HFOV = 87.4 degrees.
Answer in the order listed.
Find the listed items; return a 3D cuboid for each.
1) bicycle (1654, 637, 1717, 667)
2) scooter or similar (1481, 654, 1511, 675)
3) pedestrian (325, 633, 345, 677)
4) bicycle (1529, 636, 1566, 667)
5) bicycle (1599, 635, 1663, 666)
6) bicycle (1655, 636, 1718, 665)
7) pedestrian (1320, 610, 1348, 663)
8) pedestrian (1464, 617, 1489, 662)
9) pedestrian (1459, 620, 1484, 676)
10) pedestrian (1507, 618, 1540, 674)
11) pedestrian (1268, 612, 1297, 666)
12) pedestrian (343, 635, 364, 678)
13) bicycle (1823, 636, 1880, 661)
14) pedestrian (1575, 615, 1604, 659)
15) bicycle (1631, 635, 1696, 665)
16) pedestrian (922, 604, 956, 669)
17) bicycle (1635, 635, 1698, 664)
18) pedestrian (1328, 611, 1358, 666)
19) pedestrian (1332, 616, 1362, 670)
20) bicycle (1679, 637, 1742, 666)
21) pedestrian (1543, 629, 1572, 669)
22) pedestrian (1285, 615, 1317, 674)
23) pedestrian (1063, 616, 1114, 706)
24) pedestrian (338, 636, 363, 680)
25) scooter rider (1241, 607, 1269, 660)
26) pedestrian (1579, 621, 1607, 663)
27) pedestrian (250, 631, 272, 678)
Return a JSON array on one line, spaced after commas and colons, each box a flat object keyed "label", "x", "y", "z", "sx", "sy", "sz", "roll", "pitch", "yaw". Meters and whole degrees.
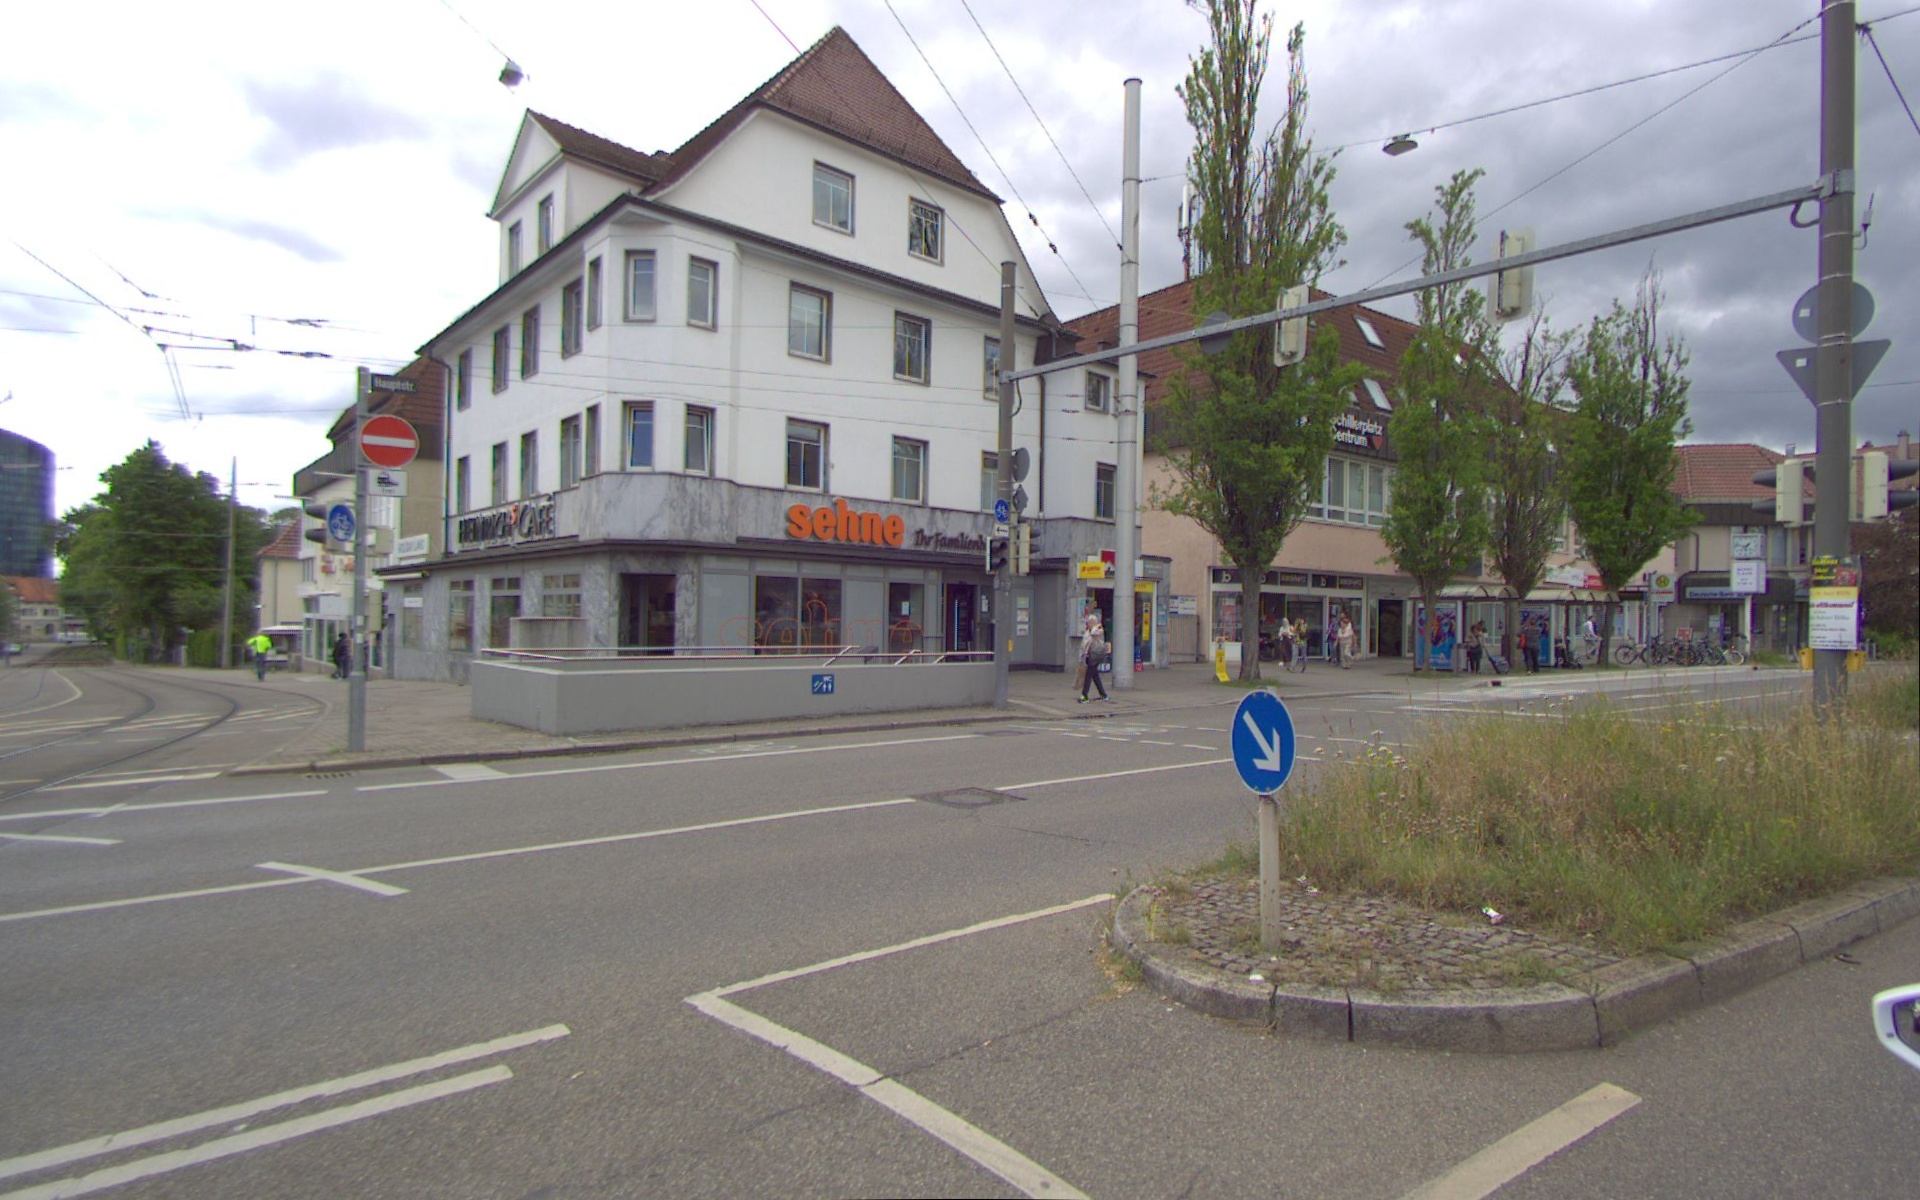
[{"label": "bicycle", "x": 29.179, "y": 2.070, "z": 40.421, "sx": 0.645, "sy": 1.105, "sz": 1.997, "roll": 1, "pitch": -1, "yaw": -45}, {"label": "scooter or similar", "x": 16.686, "y": 2.016, "z": 31.288, "sx": 0.696, "sy": 0.609, "sz": 0.588, "roll": 1, "pitch": -1, "yaw": -37}, {"label": "pedestrian", "x": -24.863, "y": 2.175, "z": 39.957, "sx": 0.610, "sy": 1.656, "sz": 0.581, "roll": 0, "pitch": 3, "yaw": -41}, {"label": "bicycle", "x": 21.637, "y": 1.876, "z": 36.972, "sx": 1.914, "sy": 1.105, "sz": 0.529, "roll": 1, "pitch": 0, "yaw": -39}, {"label": "bicycle", "x": 26.175, "y": 1.971, "z": 39.199, "sx": 1.994, "sy": 1.105, "sz": 0.646, "roll": 1, "pitch": 0, "yaw": 41}, {"label": "bicycle", "x": 29.626, "y": 2.052, "z": 40.980, "sx": 0.645, "sy": 1.105, "sz": 1.997, "roll": 1, "pitch": -1, "yaw": -45}, {"label": "pedestrian", "x": 12.605, "y": 1.232, "z": 33.869, "sx": 0.609, "sy": 1.735, "sz": 0.581, "roll": 0, "pitch": 3, "yaw": -38}, {"label": "pedestrian", "x": 19.919, "y": 1.517, "z": 38.714, "sx": 0.609, "sy": 1.656, "sz": 0.581, "roll": 1, "pitch": 3, "yaw": -38}, {"label": "pedestrian", "x": 16.004, "y": 1.491, "z": 31.437, "sx": 0.578, "sy": 1.674, "sz": 0.711, "roll": 1, "pitch": 1, "yaw": 36}, {"label": "pedestrian", "x": 17.218, "y": 1.393, "z": 30.689, "sx": 0.704, "sy": 1.674, "sz": 0.584, "roll": 0, "pitch": 1, "yaw": -26}, {"label": "pedestrian", "x": 10.299, "y": 1.238, "z": 32.089, "sx": 0.609, "sy": 1.656, "sz": 0.581, "roll": 1, "pitch": 3, "yaw": -38}, {"label": "pedestrian", "x": -24.002, "y": 2.223, "z": 39.757, "sx": 0.610, "sy": 1.656, "sz": 0.581, "roll": 0, "pitch": 3, "yaw": -41}, {"label": "bicycle", "x": 42.302, "y": 2.301, "z": 47.670, "sx": 0.645, "sy": 1.105, "sz": 1.997, "roll": 1, "pitch": -1, "yaw": -45}, {"label": "pedestrian", "x": 26.263, "y": 1.547, "z": 41.919, "sx": 0.749, "sy": 1.788, "sz": 0.720, "roll": 0, "pitch": 3, "yaw": -38}, {"label": "bicycle", "x": 27.369, "y": 1.930, "z": 39.104, "sx": 0.644, "sy": 1.105, "sz": 2.001, "roll": 1, "pitch": -1, "yaw": -40}, {"label": "pedestrian", "x": -0.548, "y": 0.958, "z": 26.412, "sx": 0.583, "sy": 1.656, "sz": 0.608, "roll": 0, "pitch": 3, "yaw": -38}, {"label": "bicycle", "x": 28.067, "y": 1.953, "z": 39.925, "sx": 0.645, "sy": 1.105, "sz": 1.997, "roll": 1, "pitch": -1, "yaw": -45}, {"label": "pedestrian", "x": 12.493, "y": 1.258, "z": 32.766, "sx": 0.609, "sy": 1.735, "sz": 0.581, "roll": 0, "pitch": 3, "yaw": -38}, {"label": "pedestrian", "x": 12.188, "y": 1.343, "z": 31.660, "sx": 0.609, "sy": 1.656, "sz": 0.581, "roll": 1, "pitch": 3, "yaw": -38}, {"label": "bicycle", "x": 30.653, "y": 2.088, "z": 41.054, "sx": 0.645, "sy": 1.105, "sz": 1.997, "roll": 1, "pitch": -1, "yaw": -45}, {"label": "pedestrian", "x": 21.183, "y": 1.720, "z": 35.609, "sx": 0.582, "sy": 1.382, "sz": 0.707, "roll": 0, "pitch": 1, "yaw": -34}, {"label": "pedestrian", "x": 9.981, "y": 1.287, "z": 29.434, "sx": 0.609, "sy": 1.656, "sz": 0.581, "roll": 1, "pitch": 3, "yaw": -38}, {"label": "pedestrian", "x": 2.484, "y": 1.166, "z": 19.408, "sx": 0.692, "sy": 1.656, "sz": 0.611, "roll": 4, "pitch": 3, "yaw": 43}, {"label": "pedestrian", "x": -23.779, "y": 2.261, "z": 39.180, "sx": 0.578, "sy": 1.656, "sz": 0.613, "roll": 4, "pitch": 3, "yaw": 33}, {"label": "scooter rider", "x": 9.958, "y": 1.114, "z": 33.909, "sx": 0.583, "sy": 1.735, "sz": 0.608, "roll": 0, "pitch": 3, "yaw": -39}, {"label": "pedestrian", "x": 27.748, "y": 1.836, "z": 44.034, "sx": 0.749, "sy": 1.788, "sz": 0.720, "roll": 0, "pitch": 3, "yaw": -38}, {"label": "pedestrian", "x": -25.703, "y": 1.988, "z": 36.955, "sx": 0.583, "sy": 1.656, "sz": 0.607, "roll": 0, "pitch": 3, "yaw": -42}]
